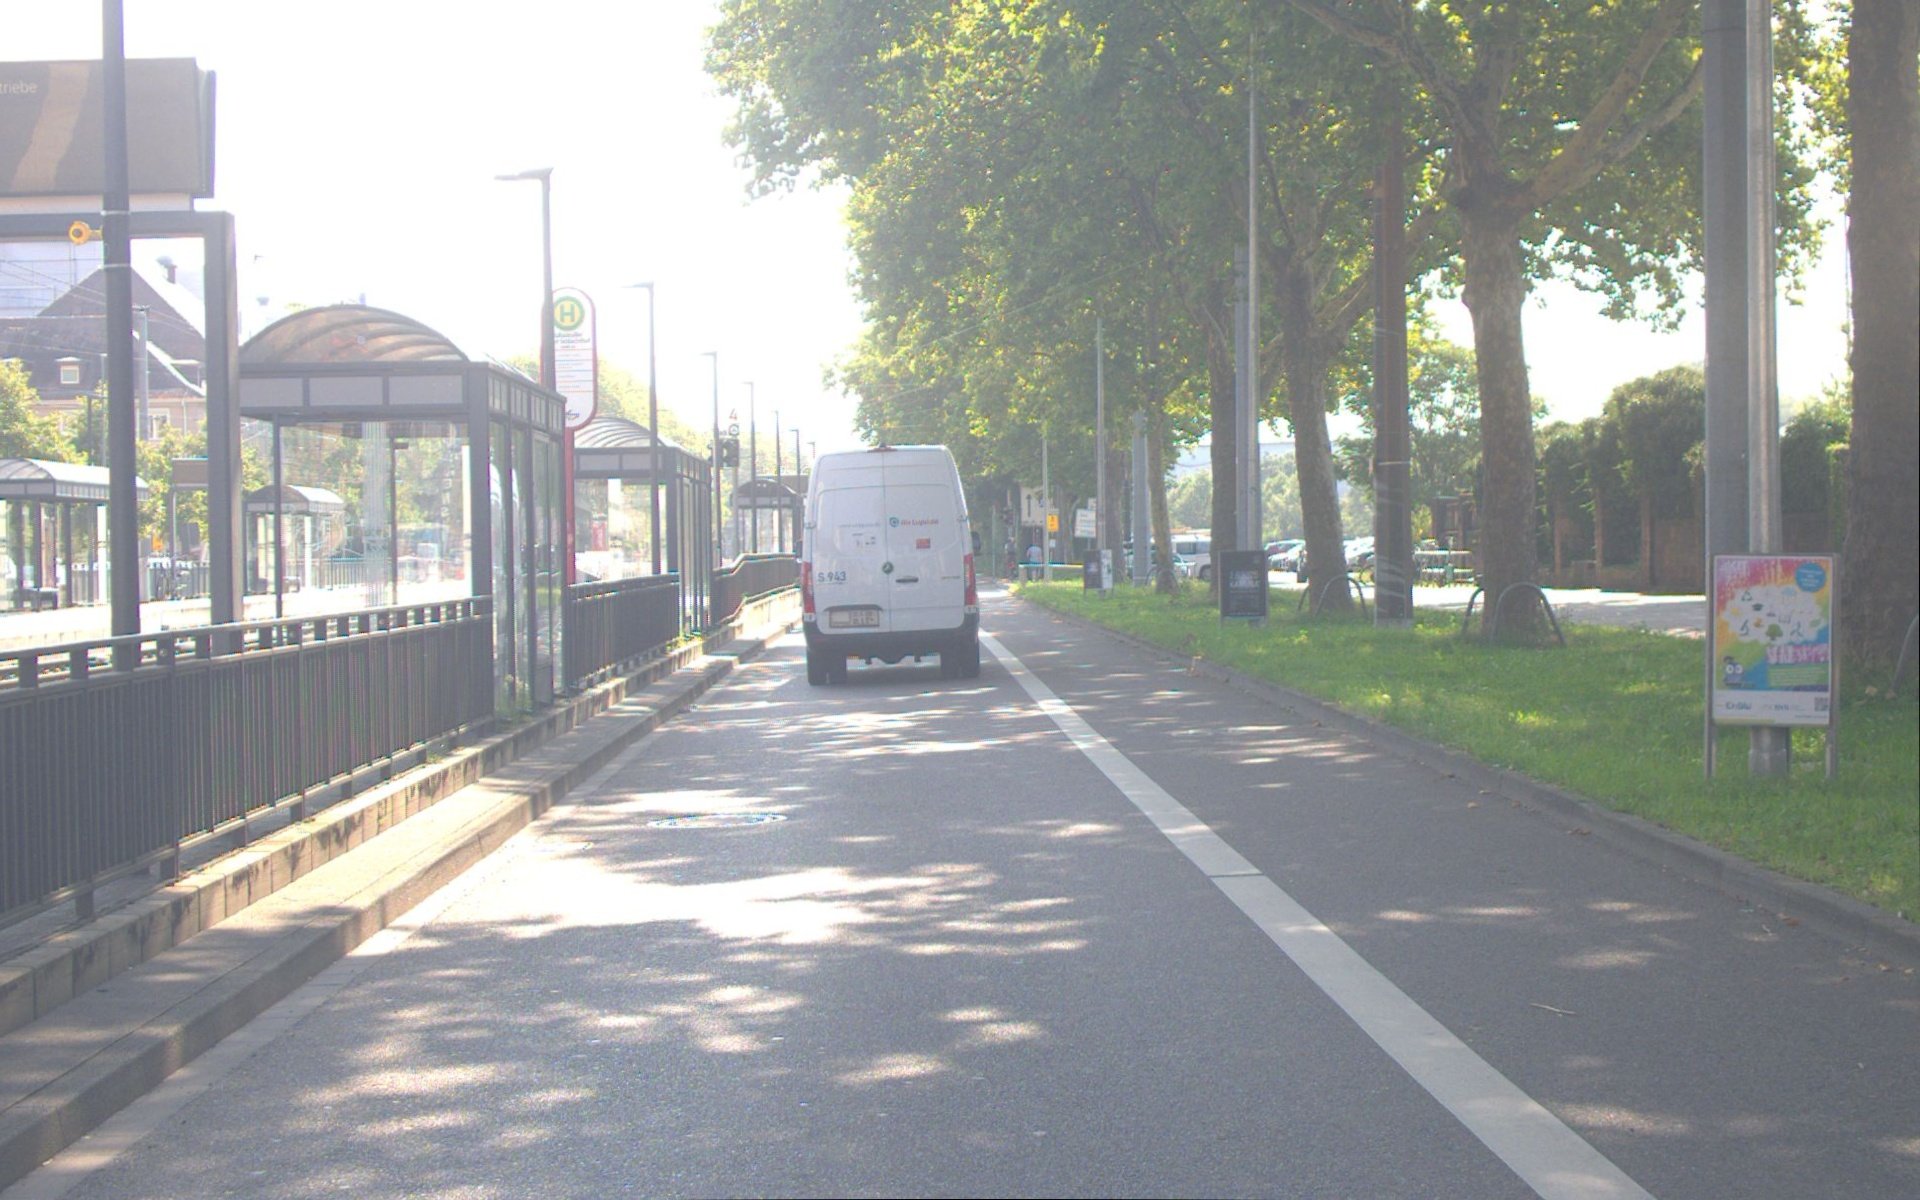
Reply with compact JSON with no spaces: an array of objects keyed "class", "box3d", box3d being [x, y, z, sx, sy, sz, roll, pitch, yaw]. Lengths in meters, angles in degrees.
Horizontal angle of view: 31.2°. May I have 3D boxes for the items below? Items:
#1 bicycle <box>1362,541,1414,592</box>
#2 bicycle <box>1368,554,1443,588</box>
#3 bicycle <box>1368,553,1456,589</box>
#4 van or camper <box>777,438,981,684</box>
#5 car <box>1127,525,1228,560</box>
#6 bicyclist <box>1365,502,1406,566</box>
[{"class":"bicycle","box3d":[8.671,-0.682,69.673,0.681,1.001,2.218,-2,1,-2]},{"class":"bicycle","box3d":[11.859,-0.779,91.559,1.932,0.844,0.372,-2,1,0]},{"class":"bicycle","box3d":[11.662,-0.755,88.761,2.180,0.844,0.503,-2,1,0]},{"class":"van or camper","box3d":[-1.020,-0.461,40.200,2.115,2.673,5.251,0,1,-4]},{"class":"car","box3d":[8.948,-2.377,141.757,3.987,1.371,2.000,0,0,-1]},{"class":"bicyclist","box3d":[8.625,-1.335,69.691,0.669,1.272,0.728,-2,1,-2]}]
